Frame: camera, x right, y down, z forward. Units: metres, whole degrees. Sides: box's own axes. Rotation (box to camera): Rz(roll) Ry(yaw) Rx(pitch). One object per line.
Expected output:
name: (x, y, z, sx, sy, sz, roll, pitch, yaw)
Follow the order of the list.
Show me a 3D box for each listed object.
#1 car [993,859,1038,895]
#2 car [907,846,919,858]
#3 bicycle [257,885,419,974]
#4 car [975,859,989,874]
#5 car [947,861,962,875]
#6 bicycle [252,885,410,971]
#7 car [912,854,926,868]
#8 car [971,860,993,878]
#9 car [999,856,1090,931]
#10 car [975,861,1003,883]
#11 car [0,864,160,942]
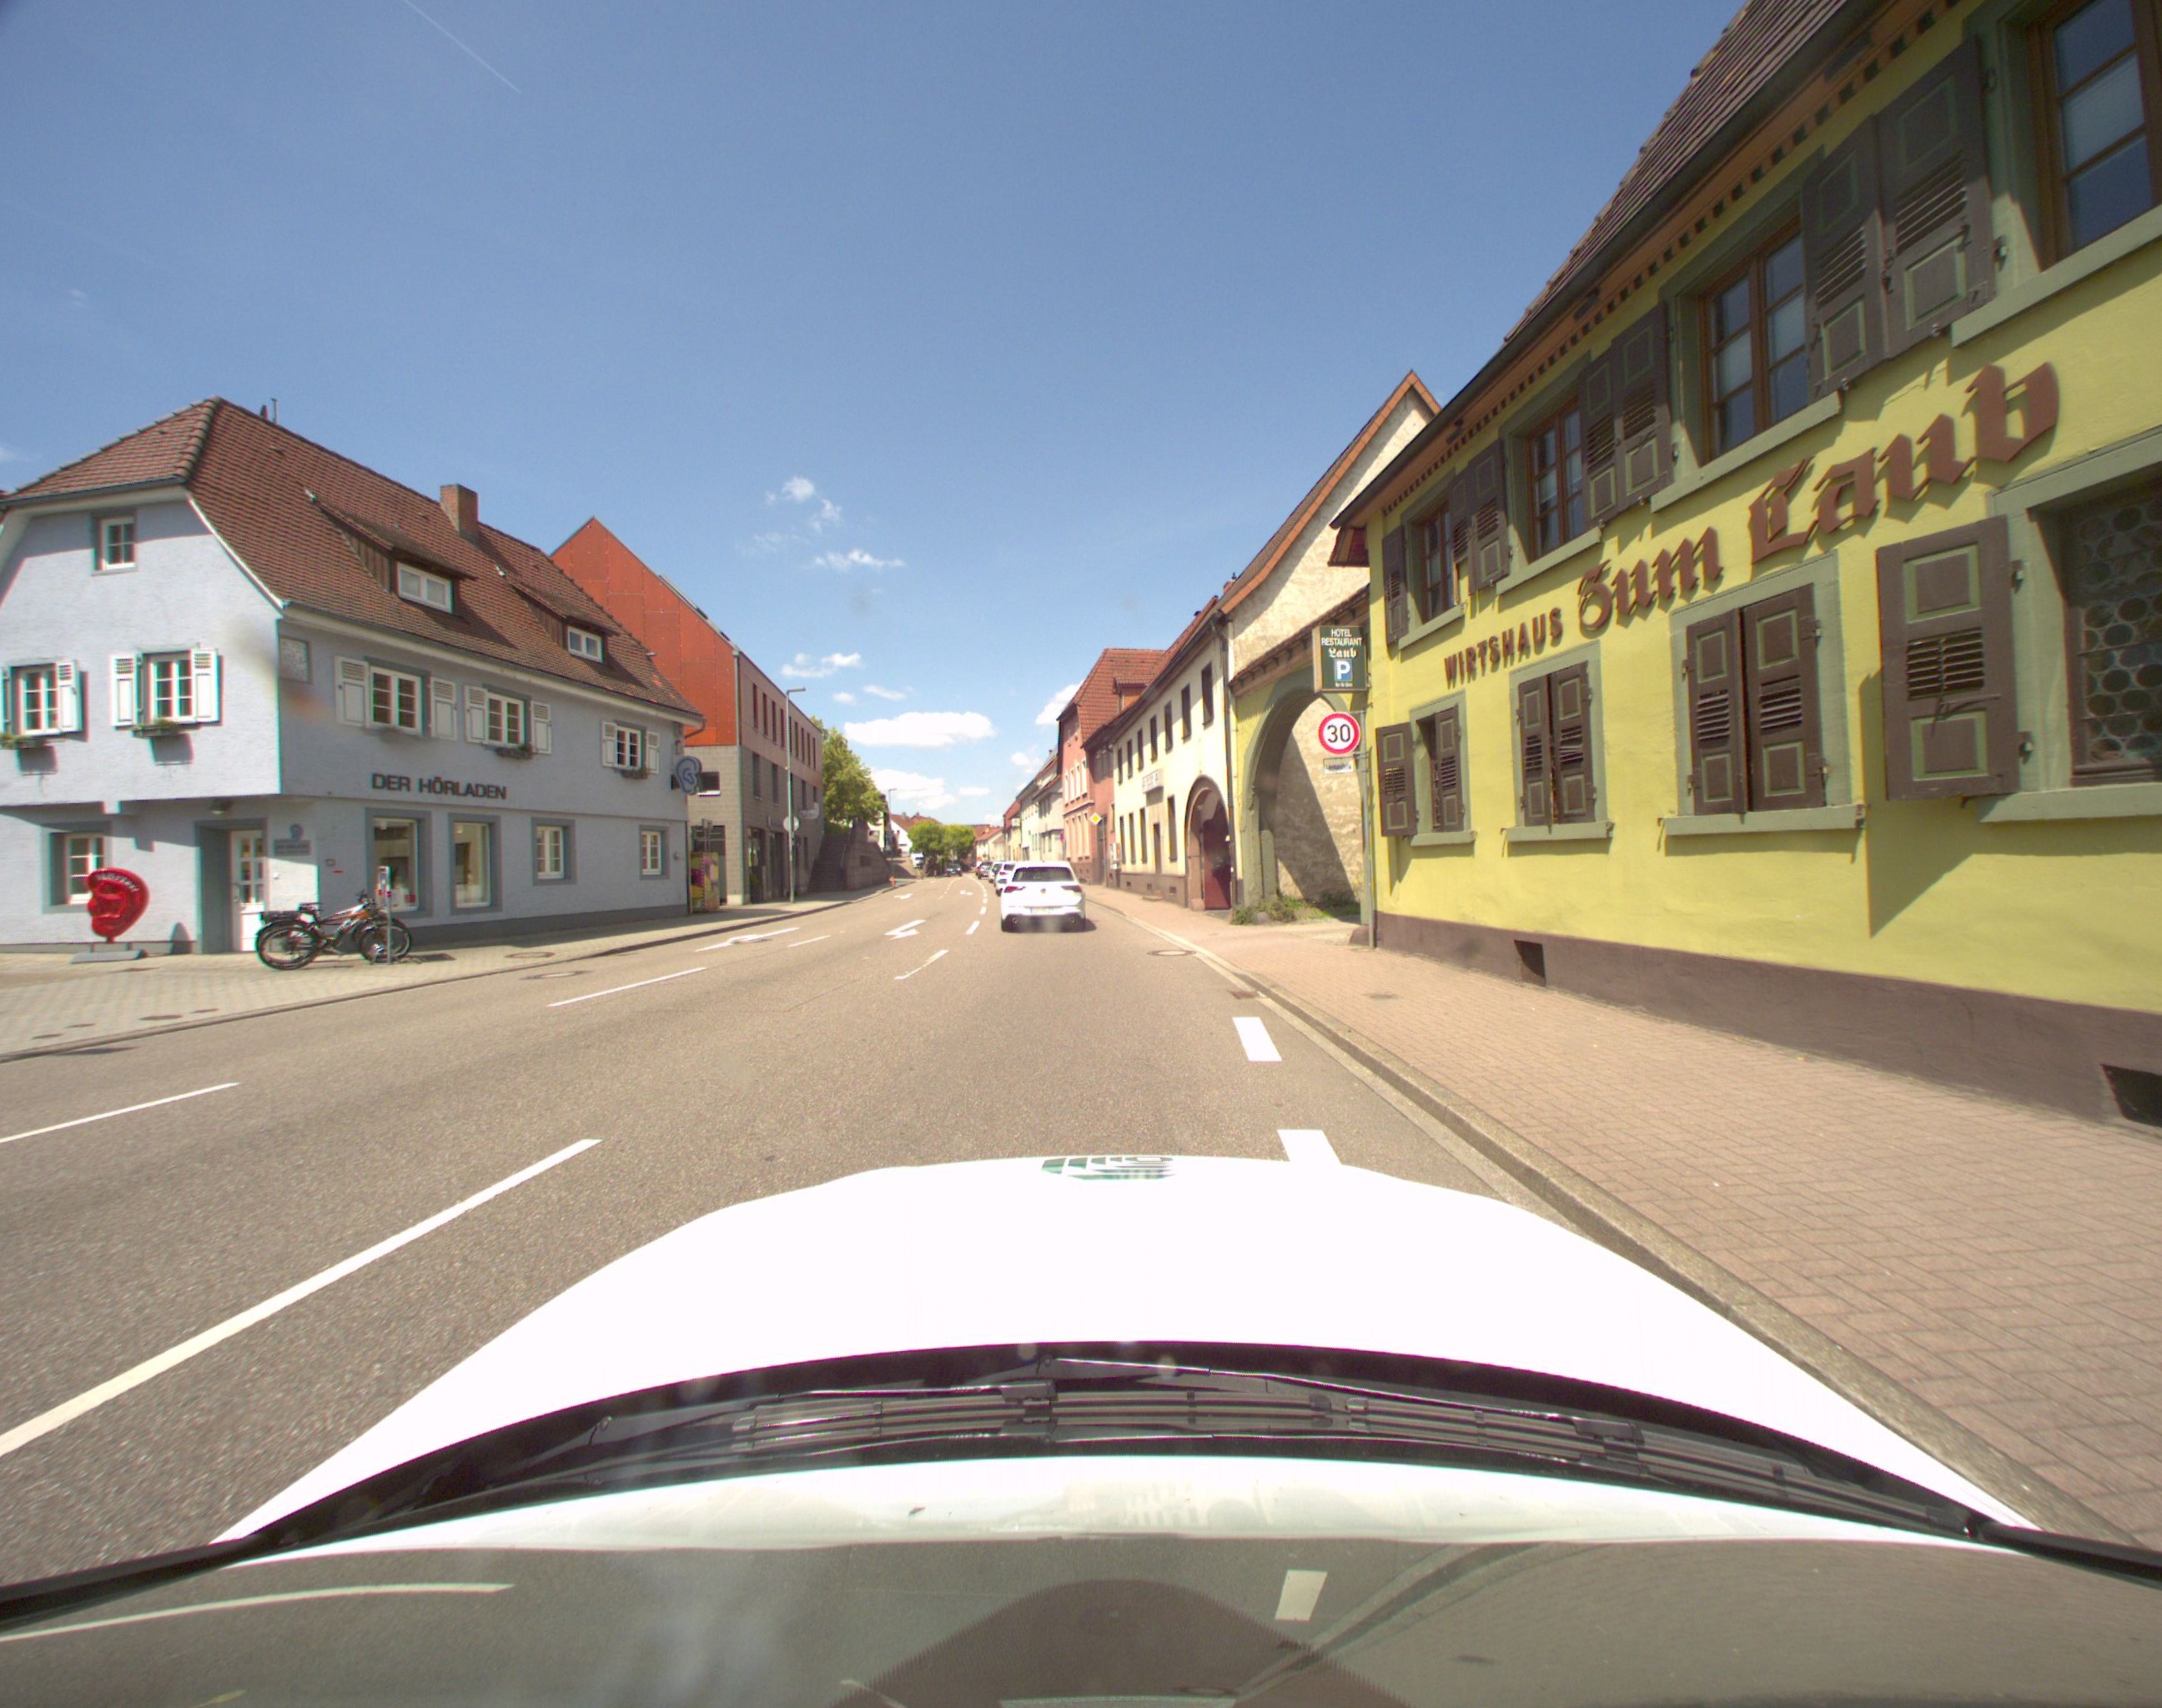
car: (-2.846, 0.962, 35.210, 1.805, 1.468, 3.993, 0, -1, -5)
car: (-25.015, -0.298, 121.374, 1.576, 1.361, 3.845, -2, 5, -10)
bicycle: (-11.646, 1.140, 12.829, 1.841, 1.249, 0.571, 1, 1, -44)
car: (-12.914, 1.622, 106.258, 1.774, 1.765, 3.989, -2, 0, -8)
car: (-16.262, 1.821, 104.773, 1.668, 1.657, 4.008, -2, 0, -7)
bicycle: (-12.143, 1.153, 13.240, 1.841, 1.249, 0.571, 1, 1, -44)
car: (-21.861, 0.934, 110.295, 1.693, 1.542, 3.845, -2, 5, -10)
car: (-8.806, 1.323, 72.478, 1.774, 1.538, 3.990, -2, 0, -7)
car: (-0.813, 0.818, 18.136, 1.804, 1.468, 3.995, 0, -1, -3)
car: (-6.558, 1.275, 57.699, 1.807, 1.468, 3.987, 0, -1, -9)
car: (-21.582, 0.964, 16.124, 1.844, 1.483, 4.020, -1, -1, 19)
